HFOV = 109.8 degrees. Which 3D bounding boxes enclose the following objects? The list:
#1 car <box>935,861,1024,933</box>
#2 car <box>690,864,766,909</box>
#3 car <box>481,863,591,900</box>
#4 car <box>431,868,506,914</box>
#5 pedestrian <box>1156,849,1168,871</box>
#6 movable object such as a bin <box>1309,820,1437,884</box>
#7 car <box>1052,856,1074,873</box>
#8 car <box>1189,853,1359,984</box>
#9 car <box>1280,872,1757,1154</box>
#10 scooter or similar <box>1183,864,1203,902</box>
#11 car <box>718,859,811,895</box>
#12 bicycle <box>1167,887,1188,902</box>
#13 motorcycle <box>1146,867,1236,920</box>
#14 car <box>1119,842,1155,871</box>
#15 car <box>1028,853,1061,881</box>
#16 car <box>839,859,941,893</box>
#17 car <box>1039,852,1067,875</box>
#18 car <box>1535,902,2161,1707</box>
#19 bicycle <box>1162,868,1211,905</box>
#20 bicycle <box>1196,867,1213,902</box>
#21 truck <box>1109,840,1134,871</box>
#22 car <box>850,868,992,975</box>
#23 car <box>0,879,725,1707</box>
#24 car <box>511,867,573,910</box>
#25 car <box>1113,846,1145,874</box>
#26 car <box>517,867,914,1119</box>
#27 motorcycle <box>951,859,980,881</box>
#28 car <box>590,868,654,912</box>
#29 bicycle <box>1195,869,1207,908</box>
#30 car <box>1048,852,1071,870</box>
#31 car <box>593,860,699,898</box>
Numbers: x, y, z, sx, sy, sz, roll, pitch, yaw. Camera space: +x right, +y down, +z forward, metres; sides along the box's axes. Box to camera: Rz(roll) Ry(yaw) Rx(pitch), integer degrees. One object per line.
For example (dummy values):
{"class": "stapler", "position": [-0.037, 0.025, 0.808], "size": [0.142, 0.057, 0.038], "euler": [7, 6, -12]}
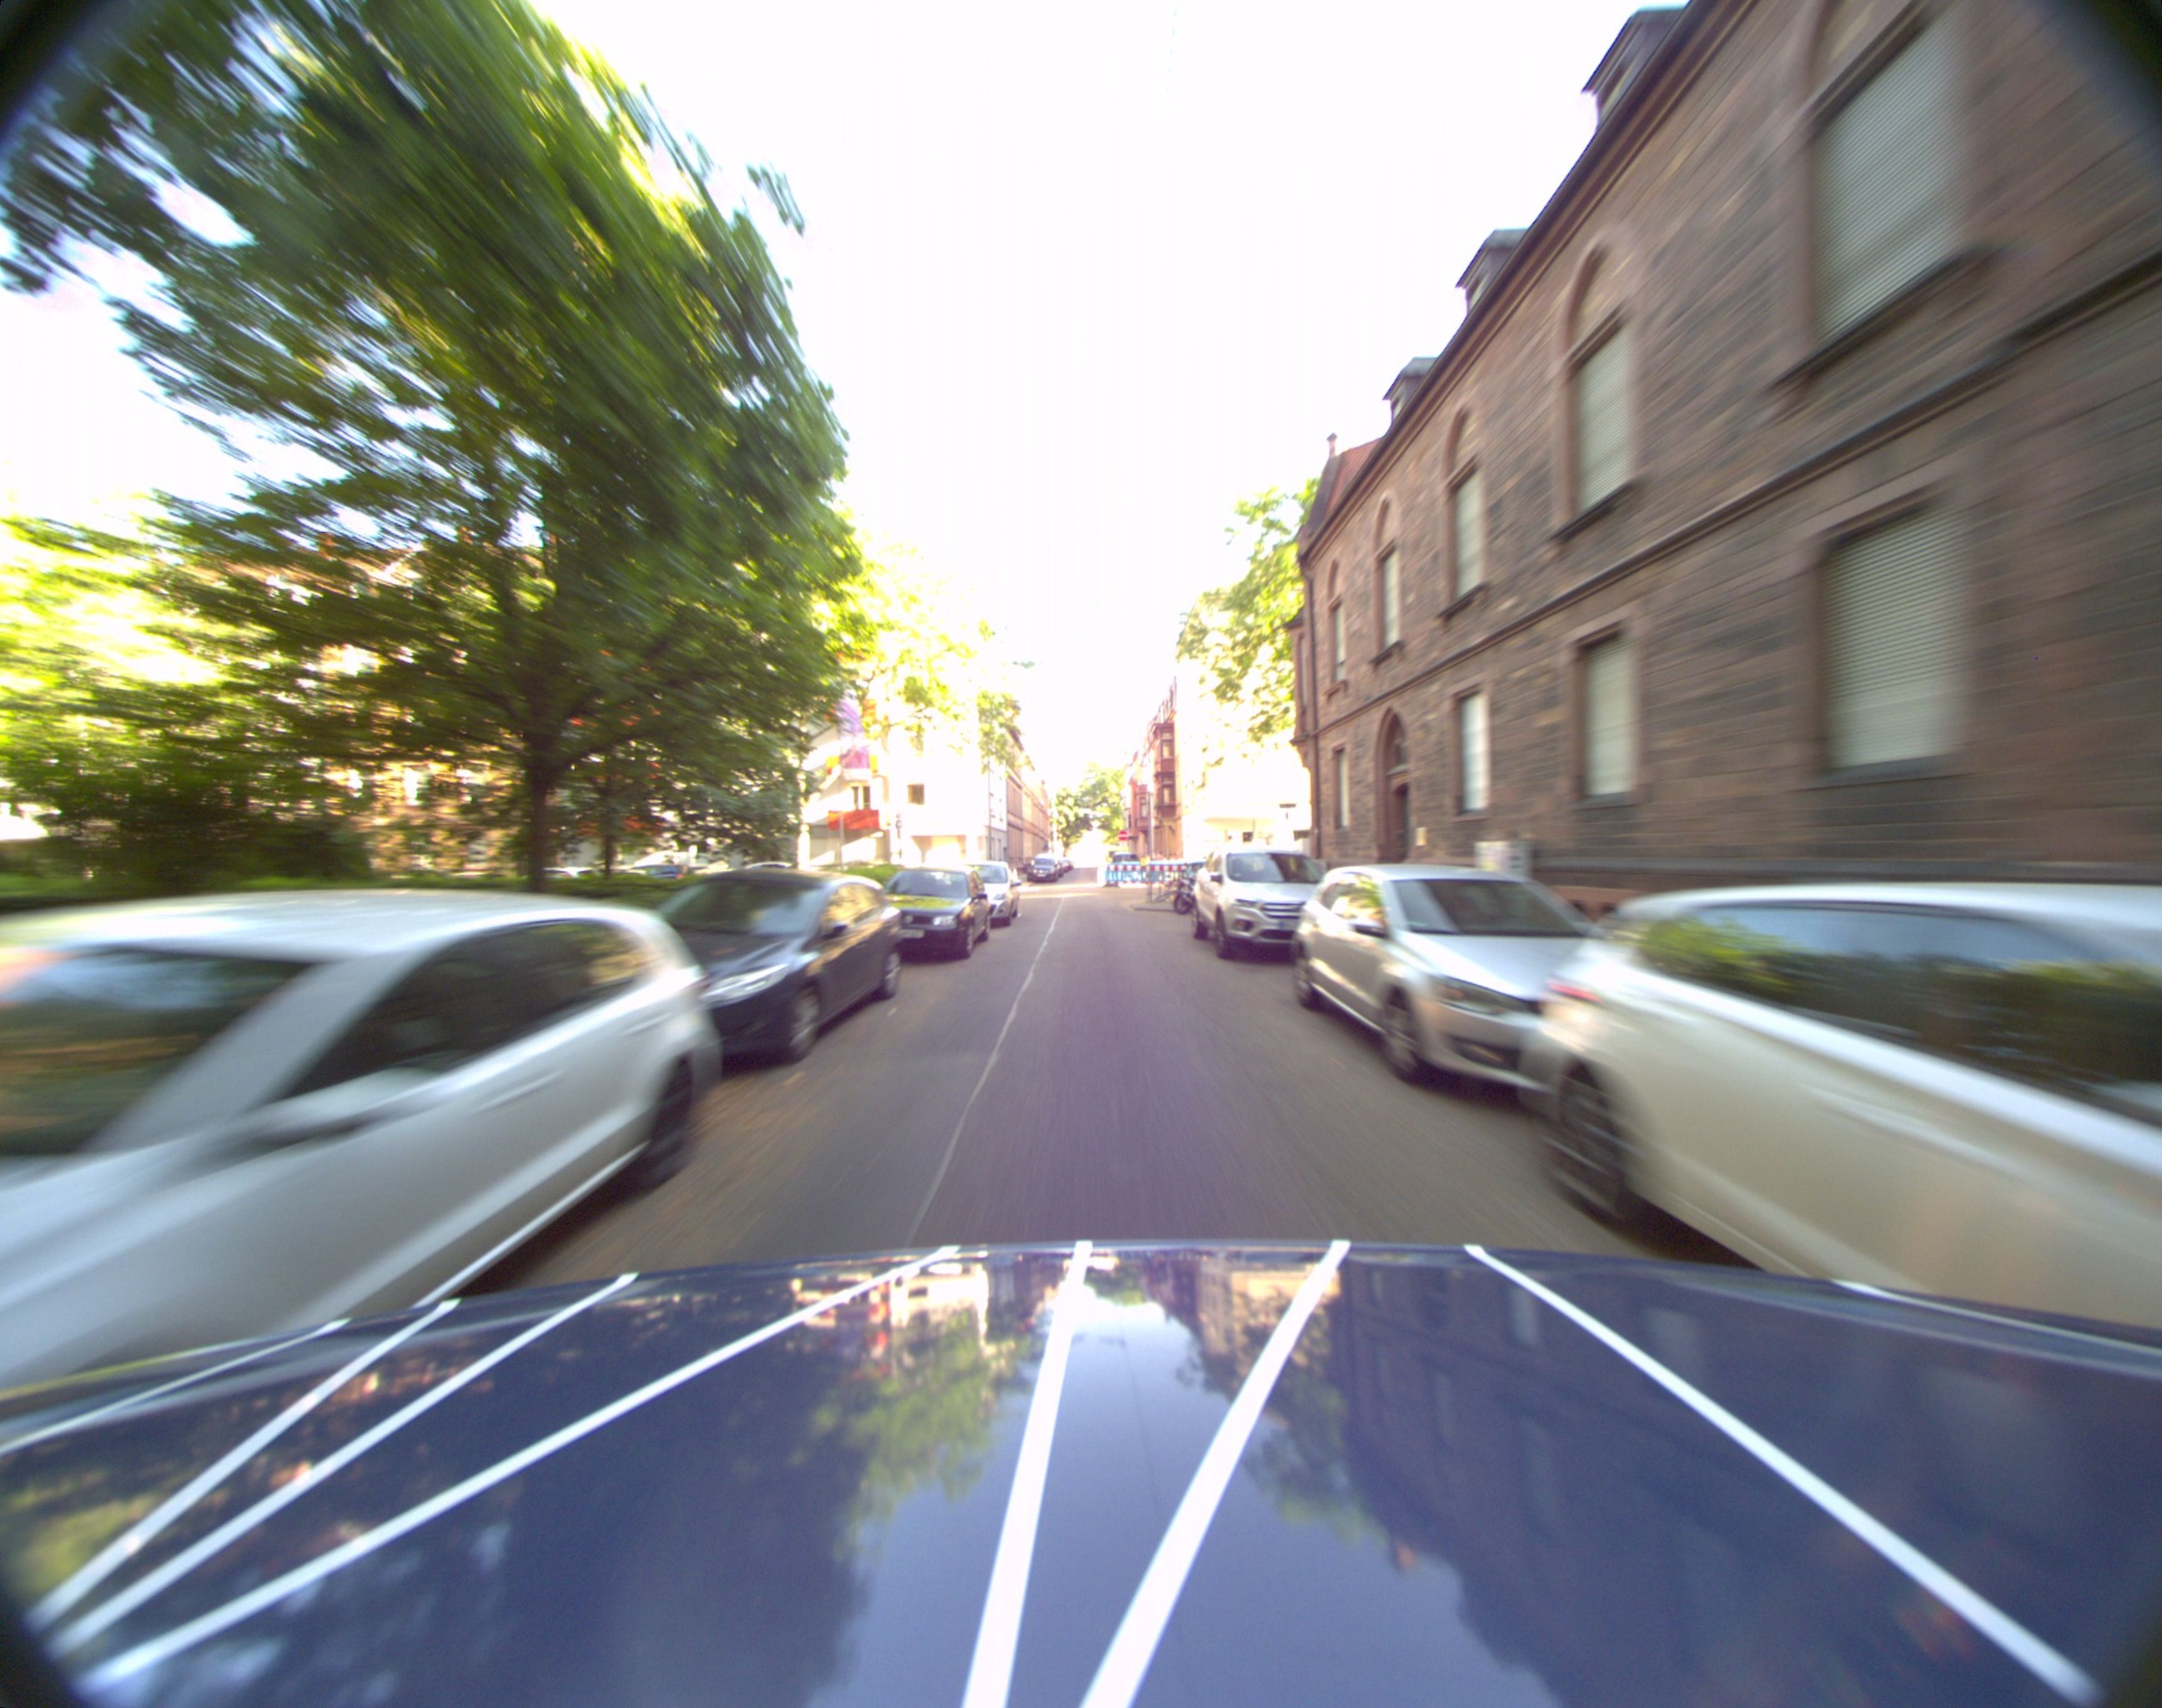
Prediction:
{"class": "car", "position": [-2.387, 0.961, 18.684], "size": [1.713, 1.511, 3.830], "euler": [0, 1, -1]}
{"class": "car", "position": [-13.211, 1.133, 28.286], "size": [1.785, 1.423, 4.404], "euler": [-3, 2, -35]}
{"class": "car", "position": [-26.130, 1.313, 36.546], "size": [4.000, 1.571, 1.649], "euler": [-1, 3, 0]}
{"class": "car", "position": [-22.894, 1.317, 28.545], "size": [1.785, 1.423, 4.404], "euler": [-3, 2, -35]}
{"class": "pedestrian", "position": [5.803, 0.417, 54.495], "size": [0.670, 1.585, 0.597], "euler": [-2, 0, -3]}
{"class": "movable object such as a bin", "position": [13.501, -0.113, 35.385], "size": [5.149, 2.733, 2.000], "euler": [-2, 3, 5]}
{"class": "car", "position": [-1.856, 1.096, 79.463], "size": [1.998, 1.659, 4.000], "euler": [-1, 0, 2]}
{"class": "car", "position": [2.855, 0.853, 12.197], "size": [1.713, 1.664, 4.277], "euler": [1, 1, 2]}
{"class": "car", "position": [2.934, 0.936, 6.148], "size": [1.713, 1.409, 3.803], "euler": [1, 1, 2]}
{"class": "scooter or similar", "position": [3.553, 0.916, 24.219], "size": [0.446, 1.167, 1.165], "euler": [-2, -2, 1]}
{"class": "car", "position": [-15.244, 1.087, 36.728], "size": [3.695, 1.550, 1.649], "euler": [-1, 3, 0]}
{"class": "bicycle", "position": [3.052, 1.283, 24.036], "size": [0.451, 0.440, 1.198], "euler": [-2, -2, -3]}
{"class": "motorcycle", "position": [2.775, 0.969, 19.367], "size": [0.703, 1.244, 2.320], "euler": [-2, 2, -44]}
{"class": "car", "position": [3.480, 0.173, 48.147], "size": [1.776, 1.695, 3.999], "euler": [-2, 0, -3]}
{"class": "car", "position": [-2.242, 0.773, 47.764], "size": [1.845, 1.643, 4.000], "euler": [0, 0, 1]}
{"class": "car", "position": [-9.120, 1.033, 36.548], "size": [4.412, 1.423, 1.782], "euler": [-2, 1, 0]}
{"class": "car", "position": [-2.222, 0.722, 58.707], "size": [1.999, 1.659, 3.998], "euler": [-1, 0, -4]}
{"class": "car", "position": [2.851, 0.956, 1.475], "size": [1.713, 1.409, 3.803], "euler": [1, 1, 2]}
{"class": "bicycle", "position": [3.091, 0.941, 22.392], "size": [0.234, 1.037, 1.679], "euler": [-5, 3, -40]}
{"class": "bicycle", "position": [3.735, 0.915, 22.977], "size": [0.234, 1.036, 1.198], "euler": [-2, -2, -3]}
{"class": "truck", "position": [3.482, 0.127, 66.374], "size": [1.971, 2.643, 5.884], "euler": [0, 0, 1]}
{"class": "car", "position": [-2.549, 1.013, 13.004], "size": [1.625, 1.428, 4.002], "euler": [0, 1, -1]}
{"class": "car", "position": [-2.842, 0.974, 2.301], "size": [1.668, 1.511, 3.950], "euler": [3, 1, -1]}
{"class": "car", "position": [-21.054, 1.285, 29.769], "size": [1.785, 1.423, 4.404], "euler": [-3, 2, -35]}
{"class": "car", "position": [3.351, 0.412, 53.570], "size": [1.805, 1.841, 3.999], "euler": [-2, 0, -3]}
{"class": "car", "position": [-2.956, 0.986, 7.227], "size": [1.668, 1.511, 4.060], "euler": [3, 1, 1]}
{"class": "motorcycle", "position": [-6.187, 0.862, 40.749], "size": [1.472, 1.111, 0.908], "euler": [-1, 0, -6]}
{"class": "car", "position": [-17.698, 1.323, 29.204], "size": [1.785, 1.423, 4.404], "euler": [-3, 2, -35]}
{"class": "bicycle", "position": [3.437, 0.972, 21.748], "size": [0.233, 1.036, 1.199], "euler": [-2, 0, 11]}
{"class": "car", "position": [-2.087, 0.683, 74.534], "size": [1.998, 1.659, 4.000], "euler": [-1, 0, 2]}
{"class": "car", "position": [-20.804, 1.169, 36.439], "size": [4.036, 1.608, 1.649], "euler": [-1, 3, 0]}
